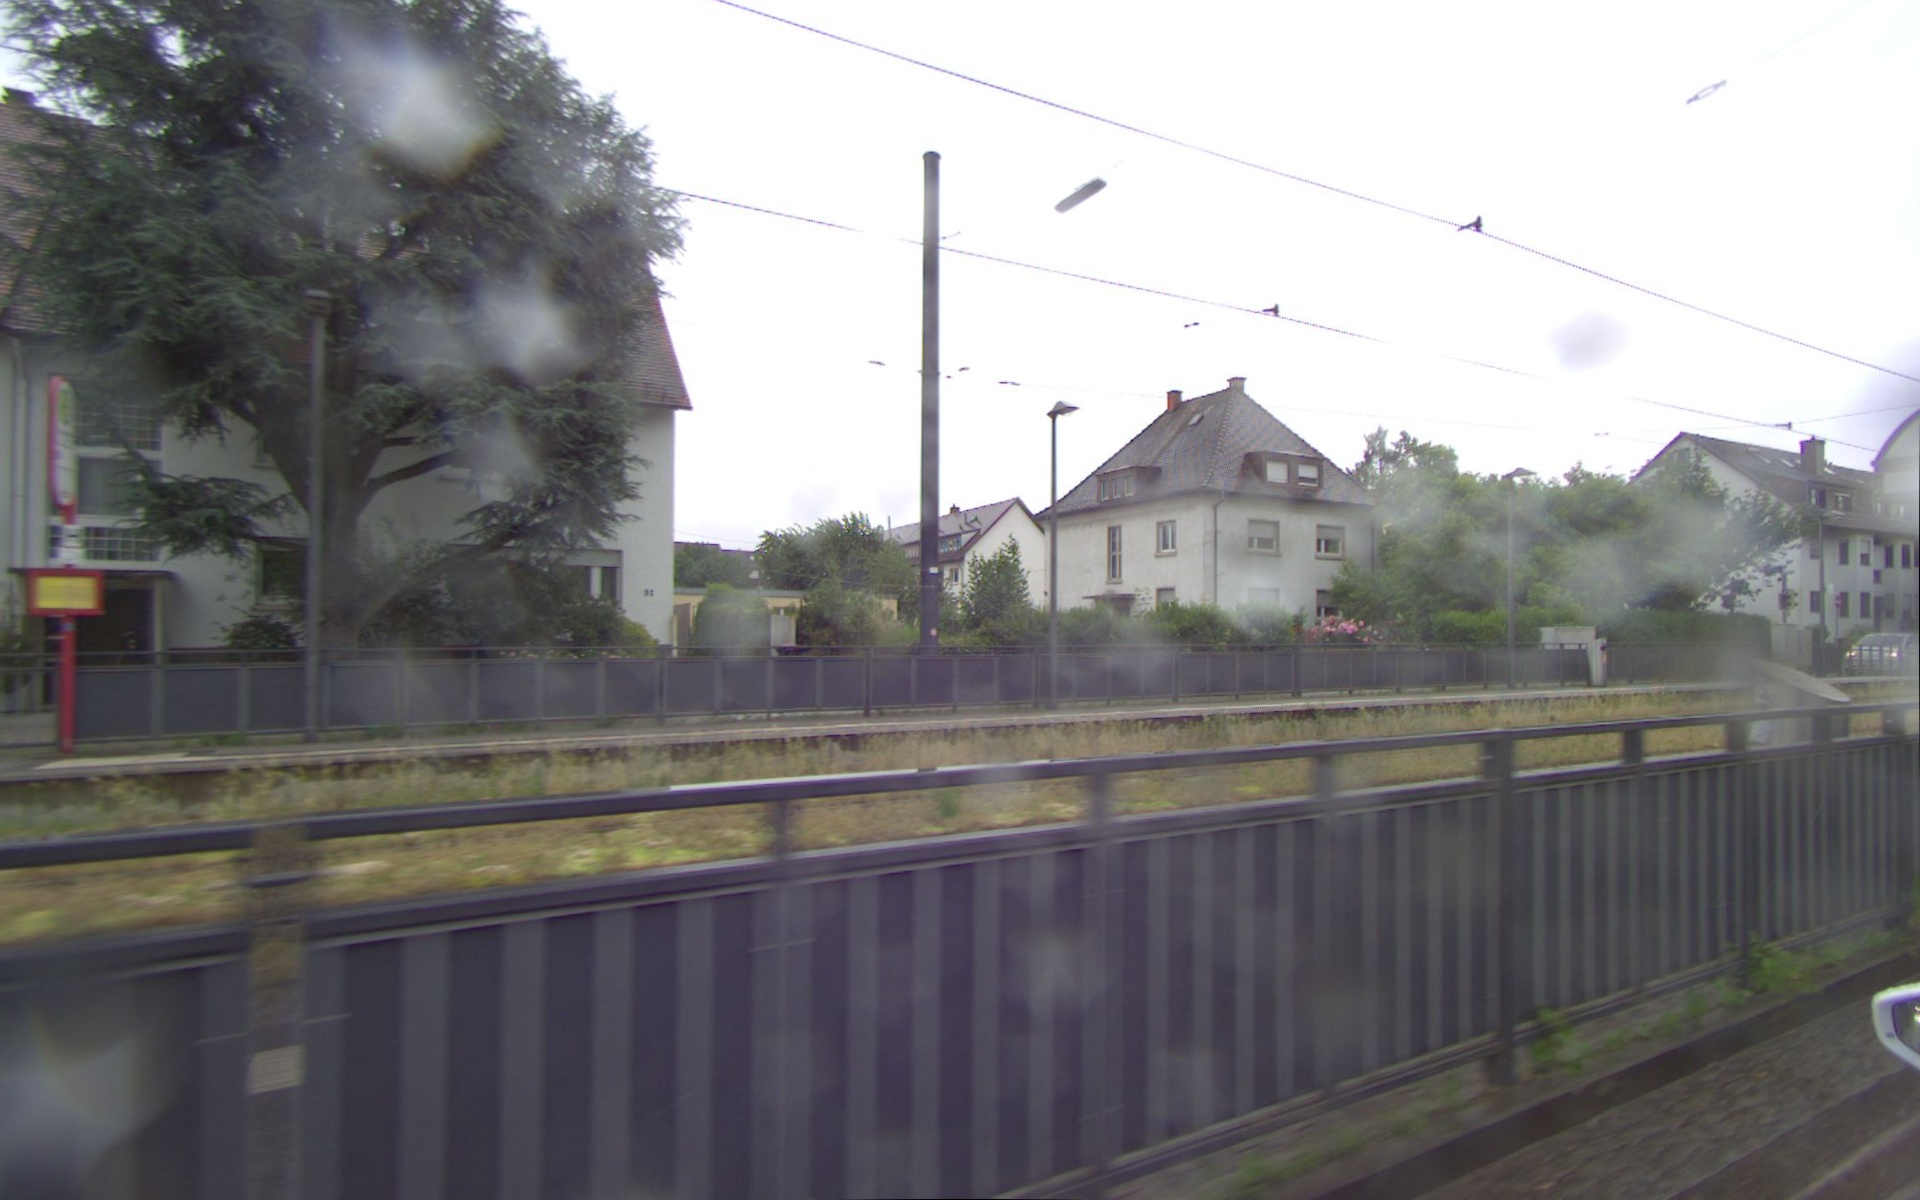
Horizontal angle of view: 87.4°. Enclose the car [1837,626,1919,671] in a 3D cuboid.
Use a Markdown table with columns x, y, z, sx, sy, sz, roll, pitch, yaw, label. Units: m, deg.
| x | y | z | sx | sy | sz | roll | pitch | yaw | label |
| --- | --- | --- | --- | --- | --- | --- | --- | --- | --- |
| 33.916 | 1.765 | 36.662 | 3.951 | 1.513 | 1.626 | 2 | -1 | -29 | car |
